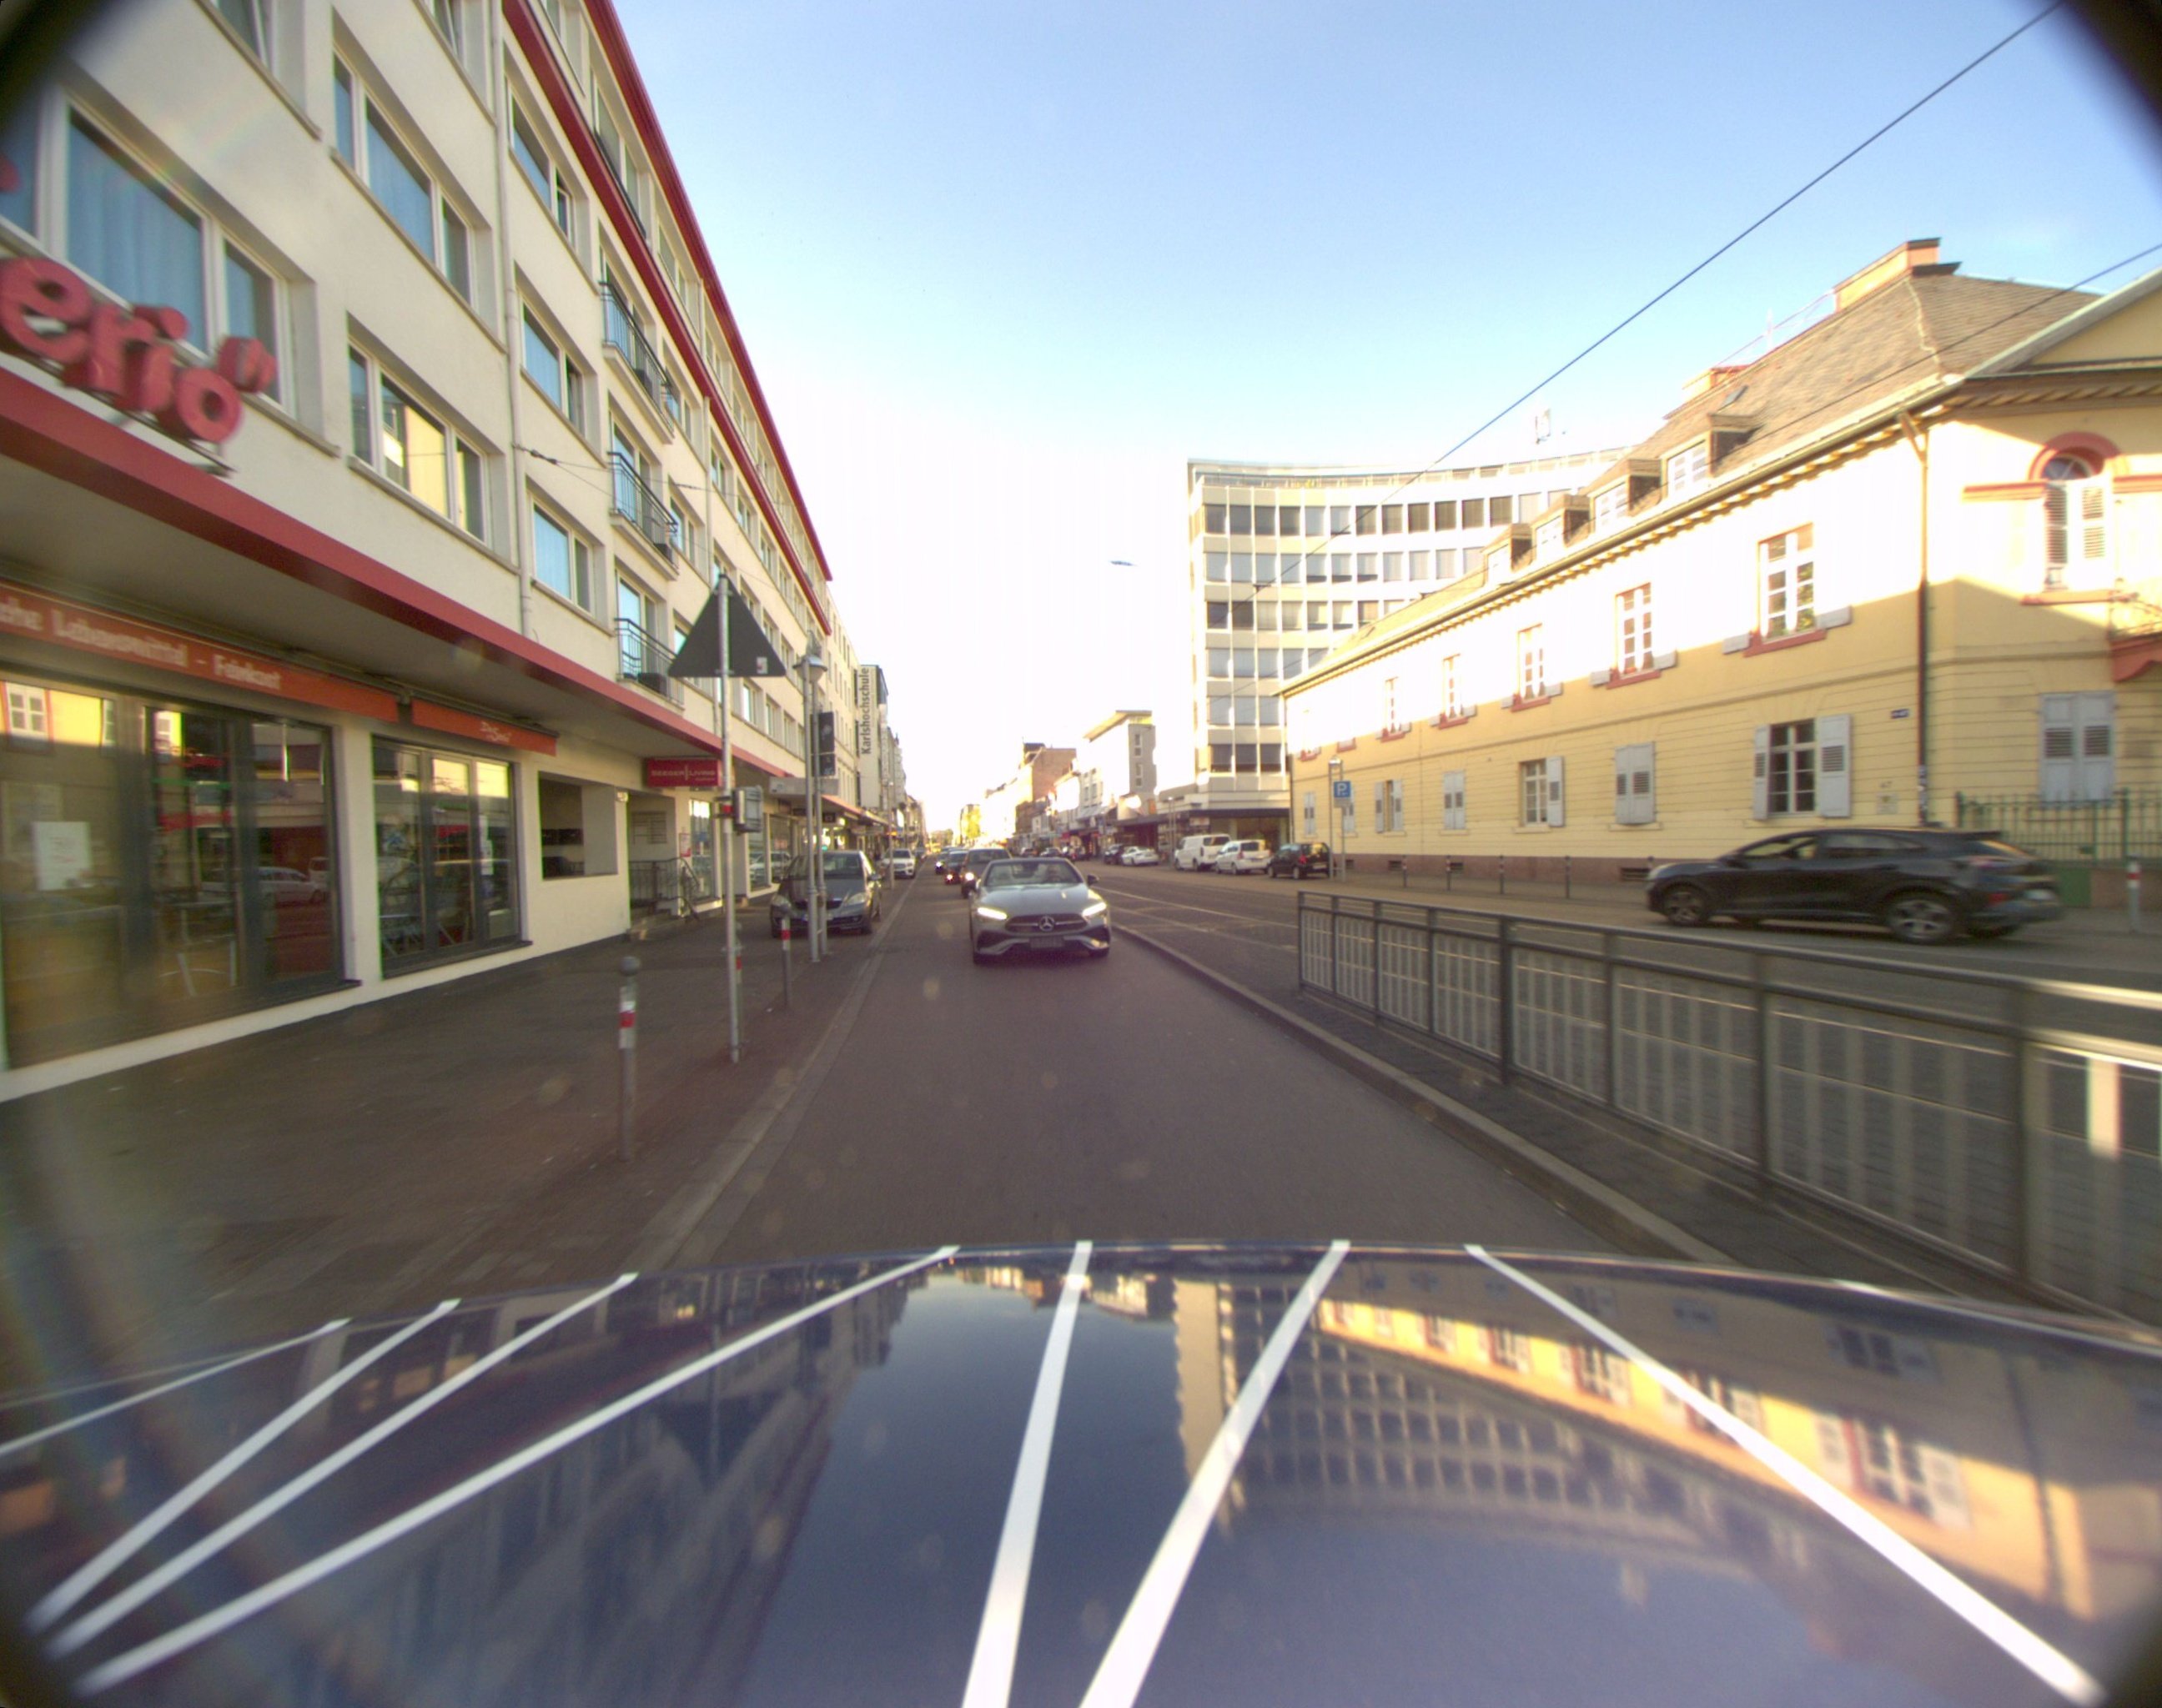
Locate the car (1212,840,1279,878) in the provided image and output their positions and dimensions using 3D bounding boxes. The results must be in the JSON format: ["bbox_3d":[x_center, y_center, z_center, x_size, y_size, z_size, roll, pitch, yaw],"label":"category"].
[{"bbox_3d":[7.812,0.169,36.511,1.782,1.611,4.172,-3,2,-8],"label":"car"}]

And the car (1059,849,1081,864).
[{"bbox_3d":[-1.273,0.258,83.424,1.787,1.511,3.829,-2,2,-10],"label":"car"}]

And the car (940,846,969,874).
[{"bbox_3d":[-7.902,0.353,47.462,1.739,1.654,3.777,0,1,-10],"label":"car"}]

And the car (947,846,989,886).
[{"bbox_3d":[-5.179,0.499,34.656,1.784,1.654,3.956,0,1,-10],"label":"car"}]

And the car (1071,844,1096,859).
[{"bbox_3d":[0.223,-0.235,77.369,1.788,1.409,3.593,-2,2,-12],"label":"car"}]

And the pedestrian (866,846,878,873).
[{"bbox_3d":[-14.353,0.342,52.143,0.706,1.807,0.806,-2,2,-12],"label":"pedestrian"}]

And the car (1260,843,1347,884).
[{"bbox_3d":[8.897,0.320,30.726,1.782,1.431,3.956,-3,2,-10],"label":"car"}]

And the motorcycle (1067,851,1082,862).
[{"bbox_3d":[-0.550,0.201,62.822,0.601,0.921,2.152,-2,2,-18],"label":"motorcycle"}]

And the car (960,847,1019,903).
[{"bbox_3d":[-3.070,0.618,24.975,1.739,1.654,3.956,0,1,-10],"label":"car"}]

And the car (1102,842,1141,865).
[{"bbox_3d":[3.194,-0.081,60.630,1.932,1.633,4.276,-3,2,-13],"label":"car"}]

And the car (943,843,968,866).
[{"bbox_3d":[-9.499,-0.020,57.412,1.739,1.654,3.956,0,1,-10],"label":"car"}]

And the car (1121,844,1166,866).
[{"bbox_3d":[4.500,0.057,55.259,1.932,1.444,4.287,-3,2,-14],"label":"car"}]

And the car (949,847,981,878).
[{"bbox_3d":[-6.596,0.442,43.022,1.739,1.654,3.956,0,1,-10],"label":"car"}]

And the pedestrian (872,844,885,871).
[{"bbox_3d":[-14.203,0.244,53.290,0.739,1.807,0.747,-2,2,-12],"label":"pedestrian"}]

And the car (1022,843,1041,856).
[{"bbox_3d":[-5.895,-0.490,89.687,1.783,1.501,3.856,0,1,-11],"label":"car"}]

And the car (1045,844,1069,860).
[{"bbox_3d":[-2.349,-0.191,72.859,1.782,1.501,4.666,0,1,-8],"label":"car"}]

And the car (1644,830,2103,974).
[{"bbox_3d":[10.625,0.500,10.646,1.692,1.551,4.114,-2,2,-23],"label":"car"}]

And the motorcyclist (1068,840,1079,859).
[{"bbox_3d":[-0.599,-0.342,62.923,0.655,1.550,0.883,-2,2,-19],"label":"motorcyclist"}]

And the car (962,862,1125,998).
[{"bbox_3d":[-0.788,0.916,11.376,1.870,1.431,4.769,0,1,-10],"label":"car"}]

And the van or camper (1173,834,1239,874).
[{"bbox_3d":[6.838,-0.060,42.112,1.961,1.962,4.791,-3,2,-11],"label":"van or camper"}]

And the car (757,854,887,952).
[{"bbox_3d":[-4.895,0.823,14.891,1.783,1.560,3.956,0,1,-10],"label":"car"}]

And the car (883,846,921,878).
[{"bbox_3d":[-9.888,0.420,42.274,1.784,1.654,4.158,0,1,-10],"label":"car"}]
